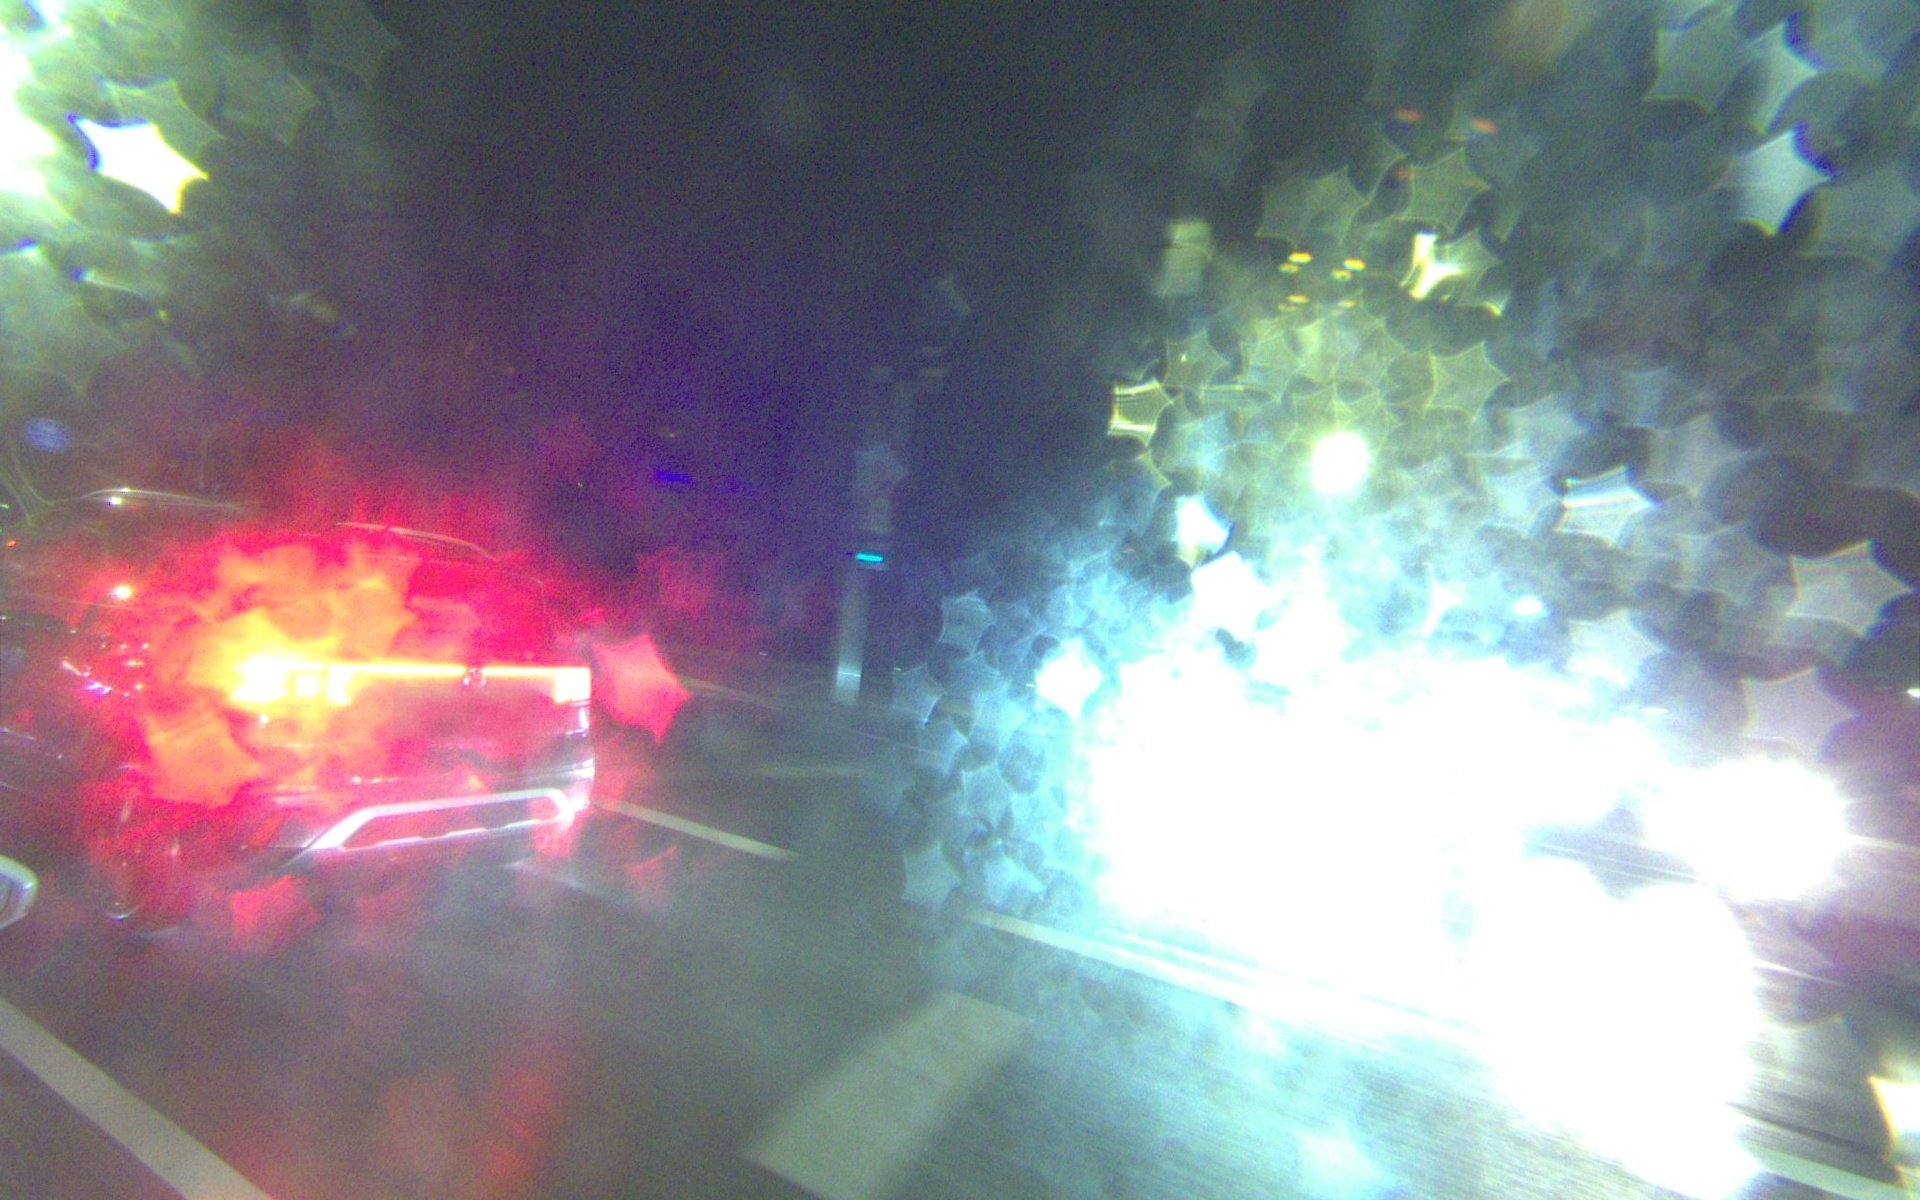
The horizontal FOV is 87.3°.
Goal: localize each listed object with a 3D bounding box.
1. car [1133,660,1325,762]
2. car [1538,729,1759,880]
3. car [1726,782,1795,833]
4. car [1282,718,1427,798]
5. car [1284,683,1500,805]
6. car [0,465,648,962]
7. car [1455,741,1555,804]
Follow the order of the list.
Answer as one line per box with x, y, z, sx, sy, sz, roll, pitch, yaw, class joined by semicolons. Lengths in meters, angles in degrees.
5.419;2.238;19.935;1.832;1.536;4.160;7;-2;43;car
9.089;2.583;13.141;1.723;1.361;4.039;7;-2;43;car
29.229;7.524;36.687;1.722;1.361;3.897;7;-2;41;car
9.837;3.919;24.941;1.832;1.536;4.160;7;-2;43;car
7.399;2.445;16.982;1.832;1.536;4.479;7;-2;43;car
-3.634;0.303;4.826;3.891;1.538;1.682;5;-3;28;car
18.162;5.702;33.424;1.802;1.659;3.981;7;-2;44;car
